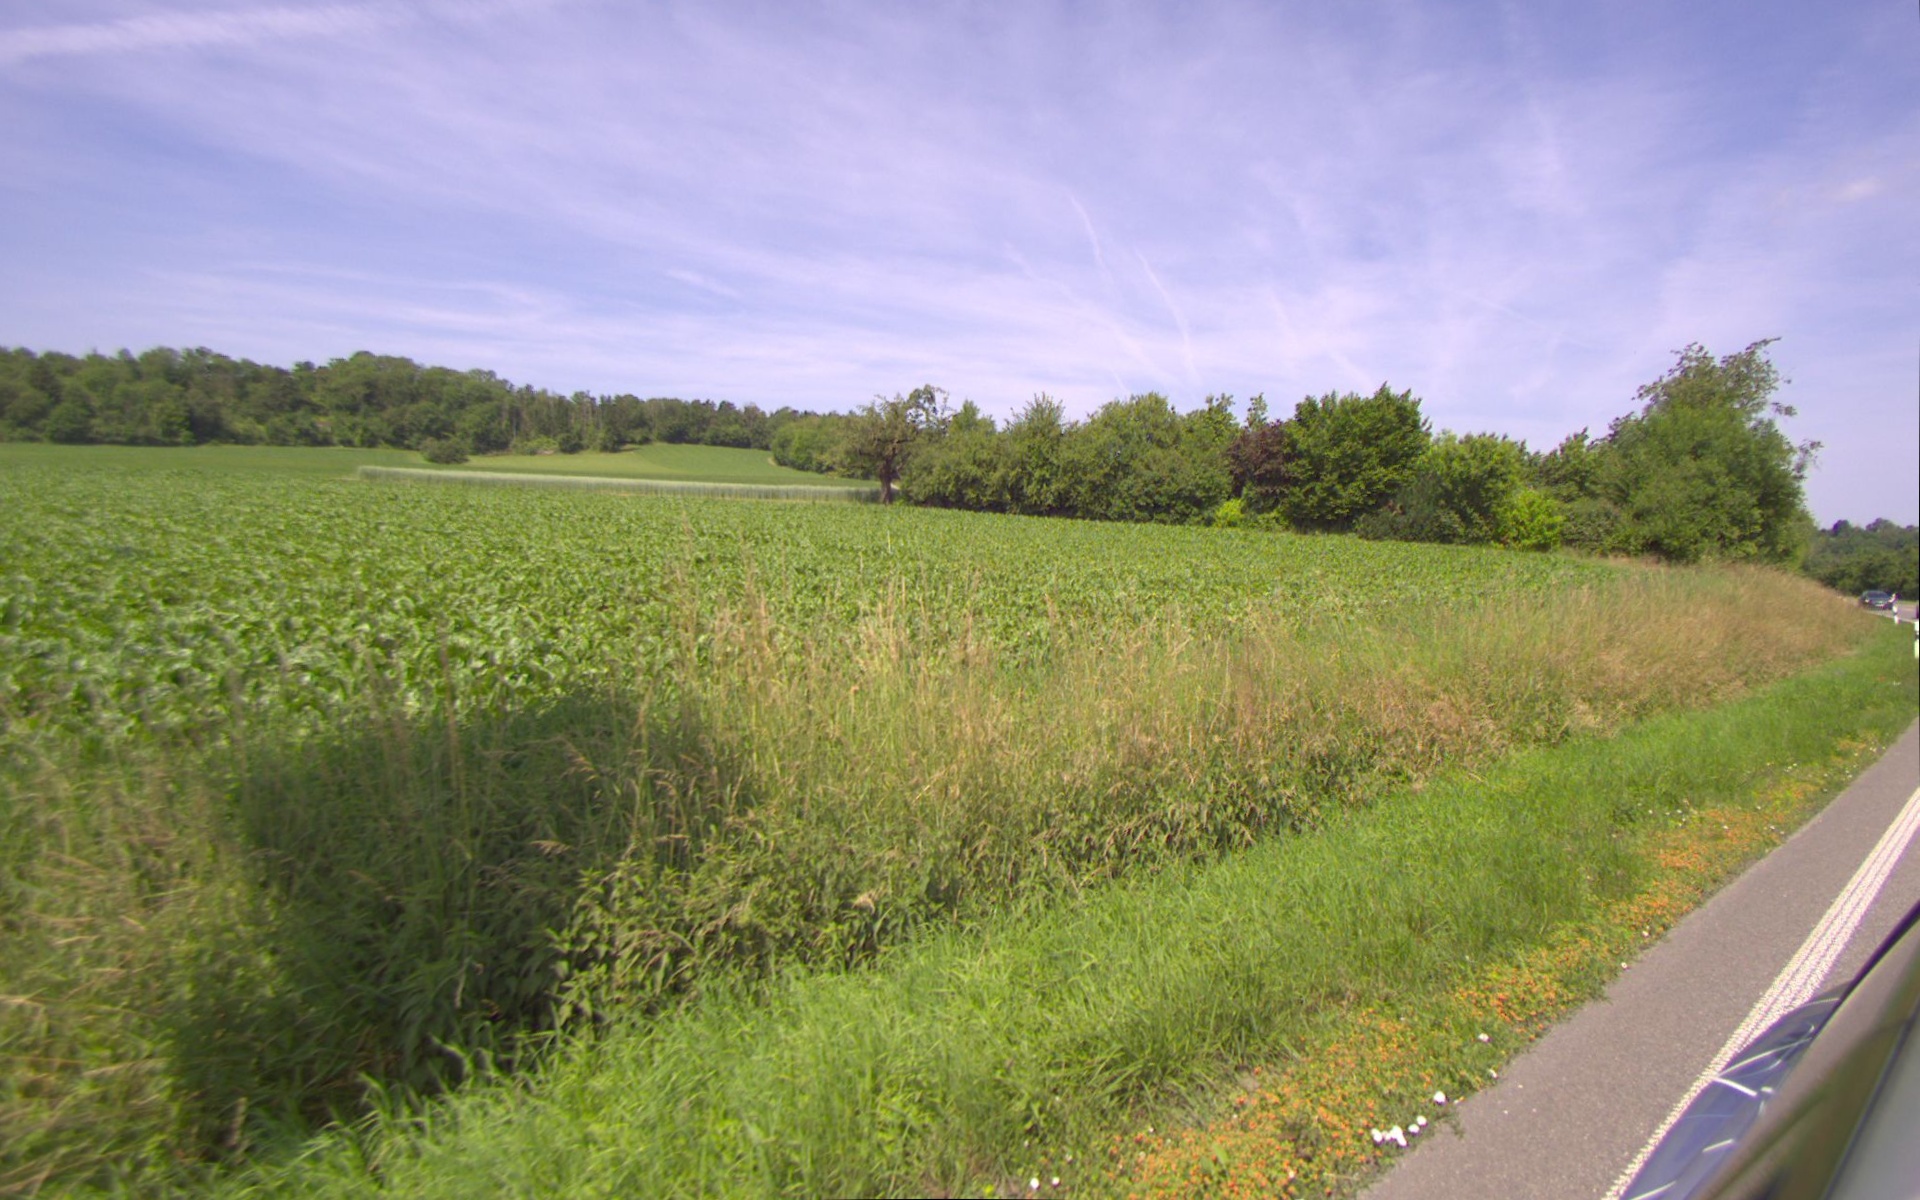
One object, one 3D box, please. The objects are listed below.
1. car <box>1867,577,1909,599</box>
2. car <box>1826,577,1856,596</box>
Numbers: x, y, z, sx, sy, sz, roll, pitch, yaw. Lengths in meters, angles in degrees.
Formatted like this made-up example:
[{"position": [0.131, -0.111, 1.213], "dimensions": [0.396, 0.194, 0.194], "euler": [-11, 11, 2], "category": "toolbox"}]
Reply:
[{"position": [74.824, -1.000, 81.639], "dimensions": [1.815, 1.537, 3.951], "euler": [7, 5, 34], "category": "car"}, {"position": [86.648, -1.372, 99.596], "dimensions": [1.657, 1.669, 3.950], "euler": [7, 5, 35], "category": "car"}]
